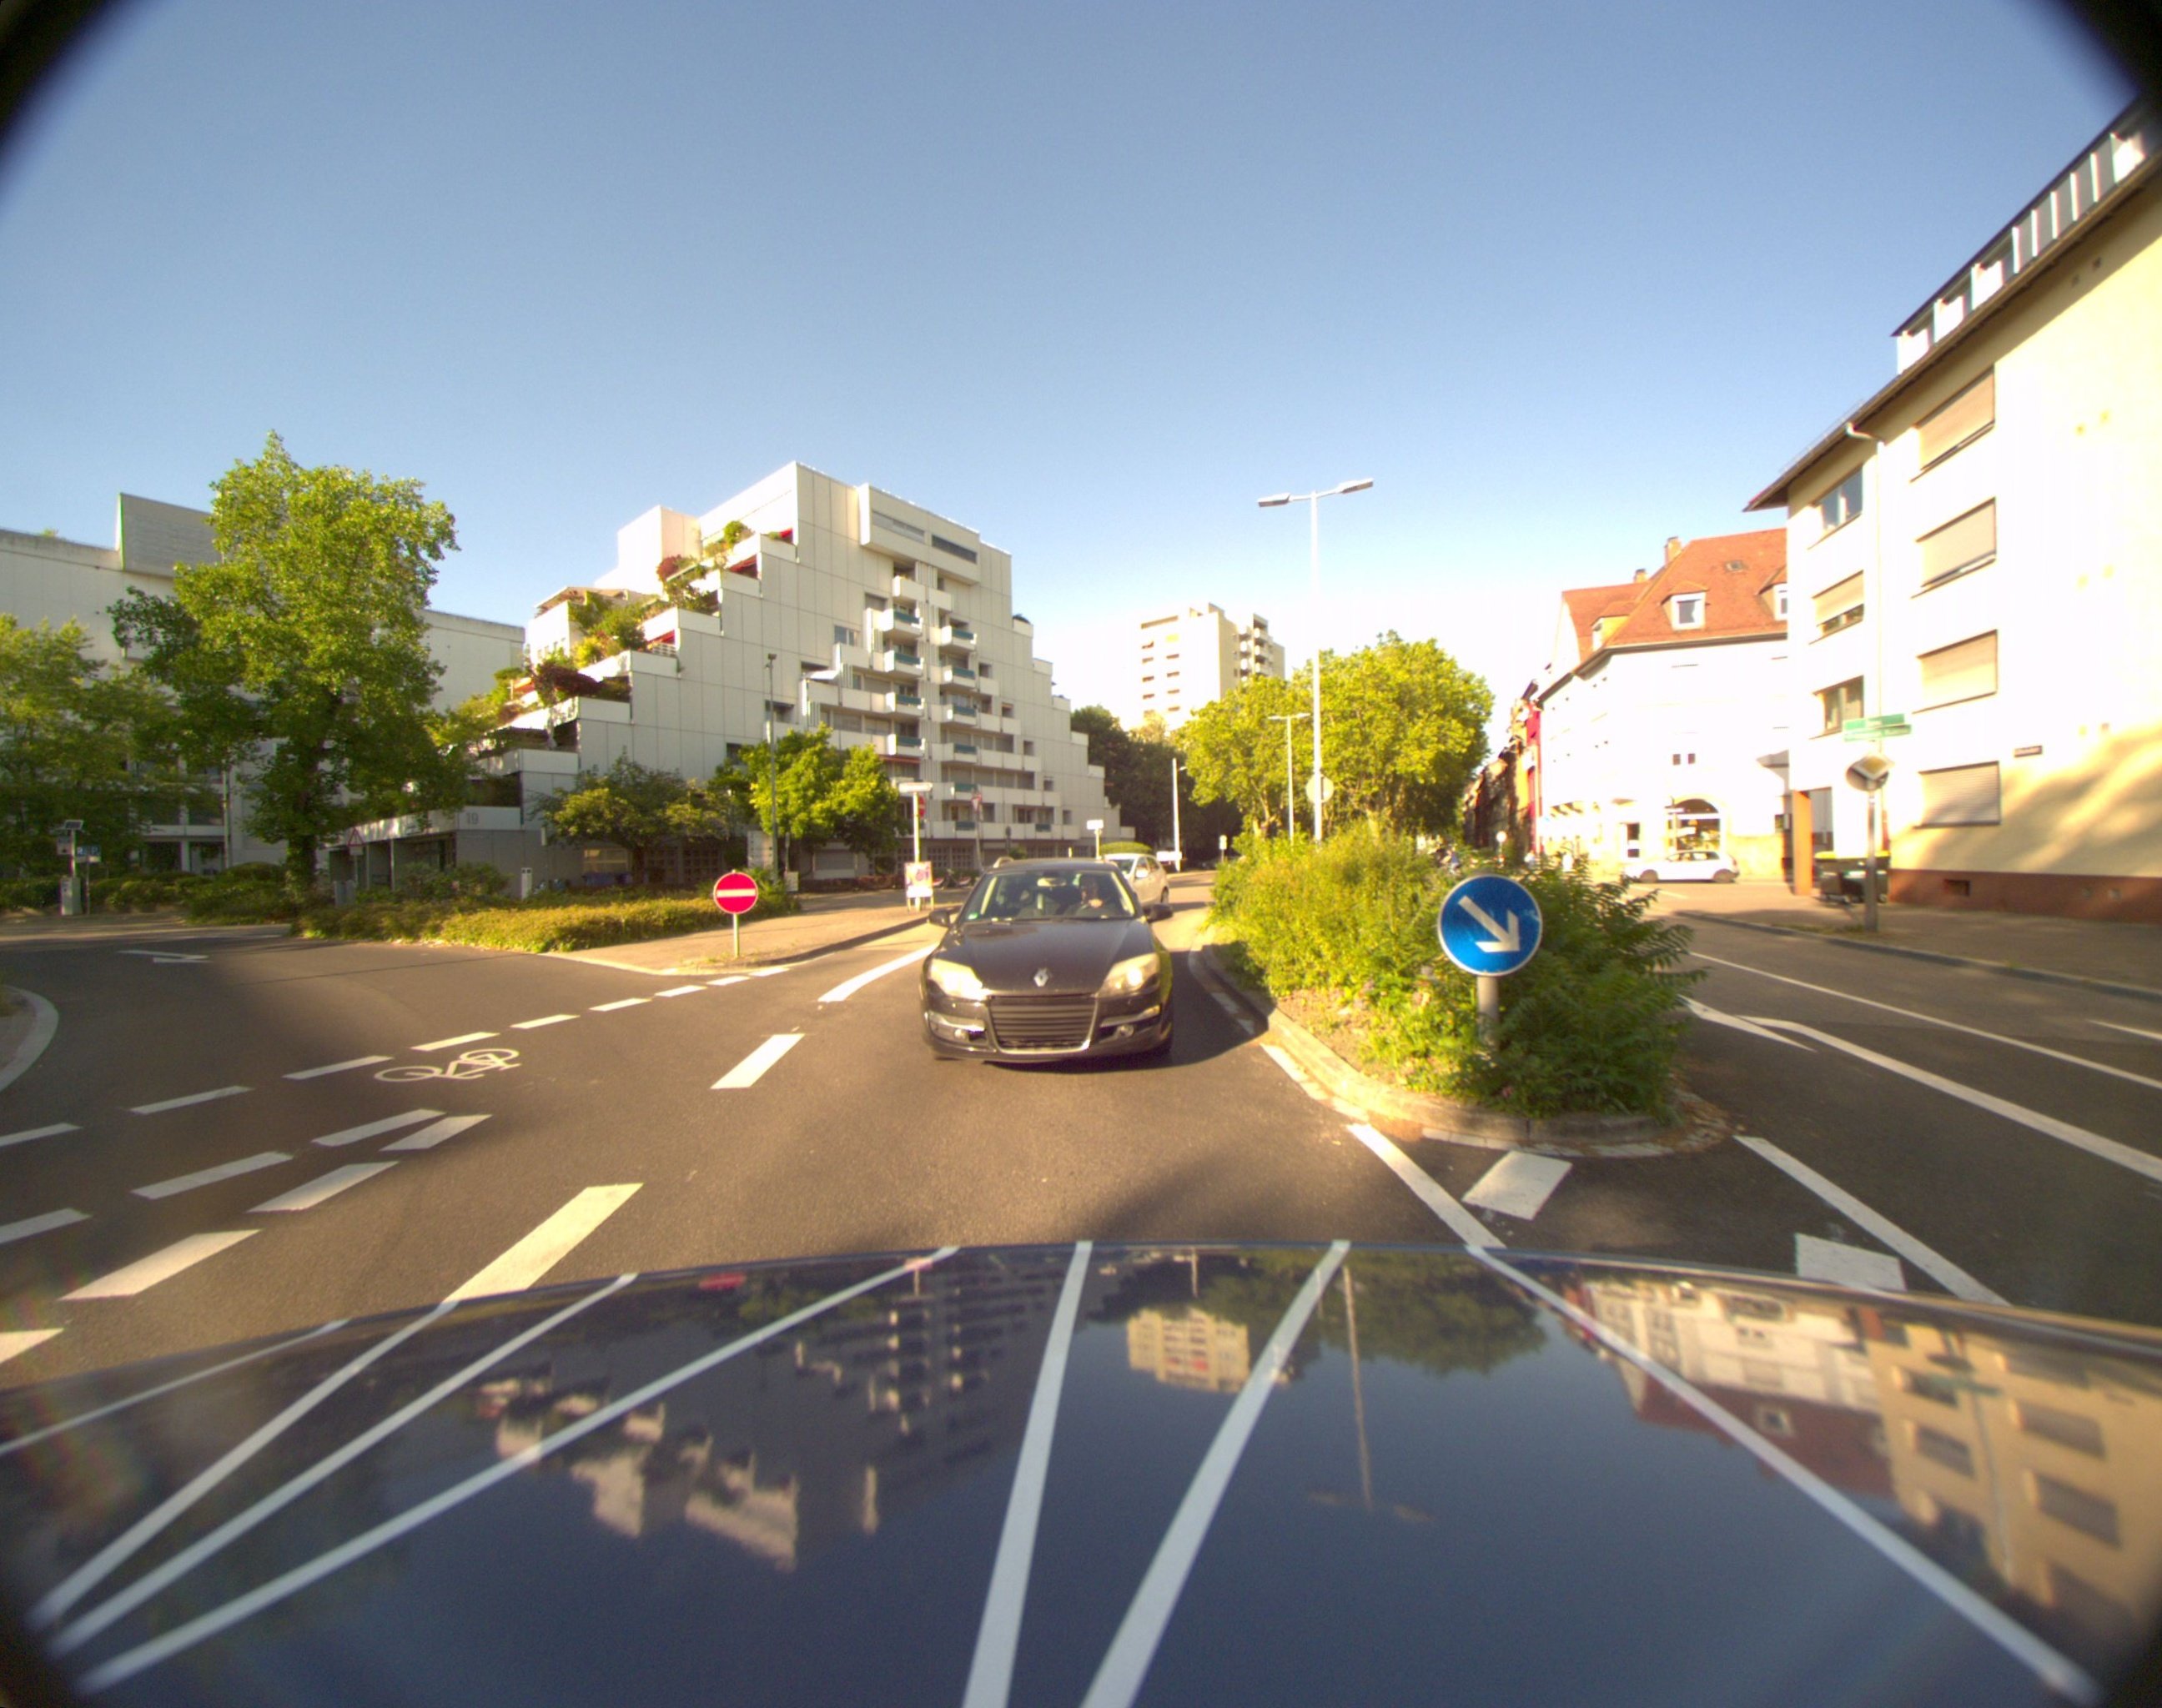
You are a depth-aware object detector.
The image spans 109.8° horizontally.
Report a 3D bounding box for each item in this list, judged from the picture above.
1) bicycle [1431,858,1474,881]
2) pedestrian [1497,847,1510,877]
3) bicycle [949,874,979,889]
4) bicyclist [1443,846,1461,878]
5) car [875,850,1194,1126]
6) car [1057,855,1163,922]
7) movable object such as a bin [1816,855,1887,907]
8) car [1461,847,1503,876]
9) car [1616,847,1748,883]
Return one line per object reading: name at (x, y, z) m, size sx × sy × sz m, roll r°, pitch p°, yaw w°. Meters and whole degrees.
bicycle at (18.196, 0.768, 37.202) m, size 1.865 × 1.083 × 0.628 m, roll -1°, pitch 1°, yaw 27°
pedestrian at (24.771, 0.467, 44.545) m, size 0.672 × 1.702 × 0.714 m, roll -1°, pitch 1°, yaw 29°
bicycle at (-6.401, 1.504, 41.704) m, size 1.575 × 0.780 × 0.464 m, roll -1°, pitch 0°, yaw -4°
bicyclist at (18.169, 0.369, 37.205) m, size 0.749 × 1.544 × 0.631 m, roll -1°, pitch 1°, yaw 28°
car at (-0.480, 0.819, 6.817) m, size 1.845 × 1.536 × 4.522 m, roll -3°, pitch 0°, yaw -6°
car at (0.814, 0.779, 18.718) m, size 1.652 × 1.445 × 3.539 m, roll -1°, pitch 0°, yaw 19°
movable object such as a bin at (19.611, 0.668, 19.367) m, size 1.032 × 1.278 × 1.064 m, roll -1°, pitch 1°, yaw 30°
car at (26.234, 0.459, 49.819) m, size 1.895 × 1.782 × 4.006 m, roll -1°, pitch 0°, yaw 20°
car at (26.122, 0.481, 33.200) m, size 4.196 × 1.502 × 1.804 m, roll -1°, pitch 0°, yaw 22°
